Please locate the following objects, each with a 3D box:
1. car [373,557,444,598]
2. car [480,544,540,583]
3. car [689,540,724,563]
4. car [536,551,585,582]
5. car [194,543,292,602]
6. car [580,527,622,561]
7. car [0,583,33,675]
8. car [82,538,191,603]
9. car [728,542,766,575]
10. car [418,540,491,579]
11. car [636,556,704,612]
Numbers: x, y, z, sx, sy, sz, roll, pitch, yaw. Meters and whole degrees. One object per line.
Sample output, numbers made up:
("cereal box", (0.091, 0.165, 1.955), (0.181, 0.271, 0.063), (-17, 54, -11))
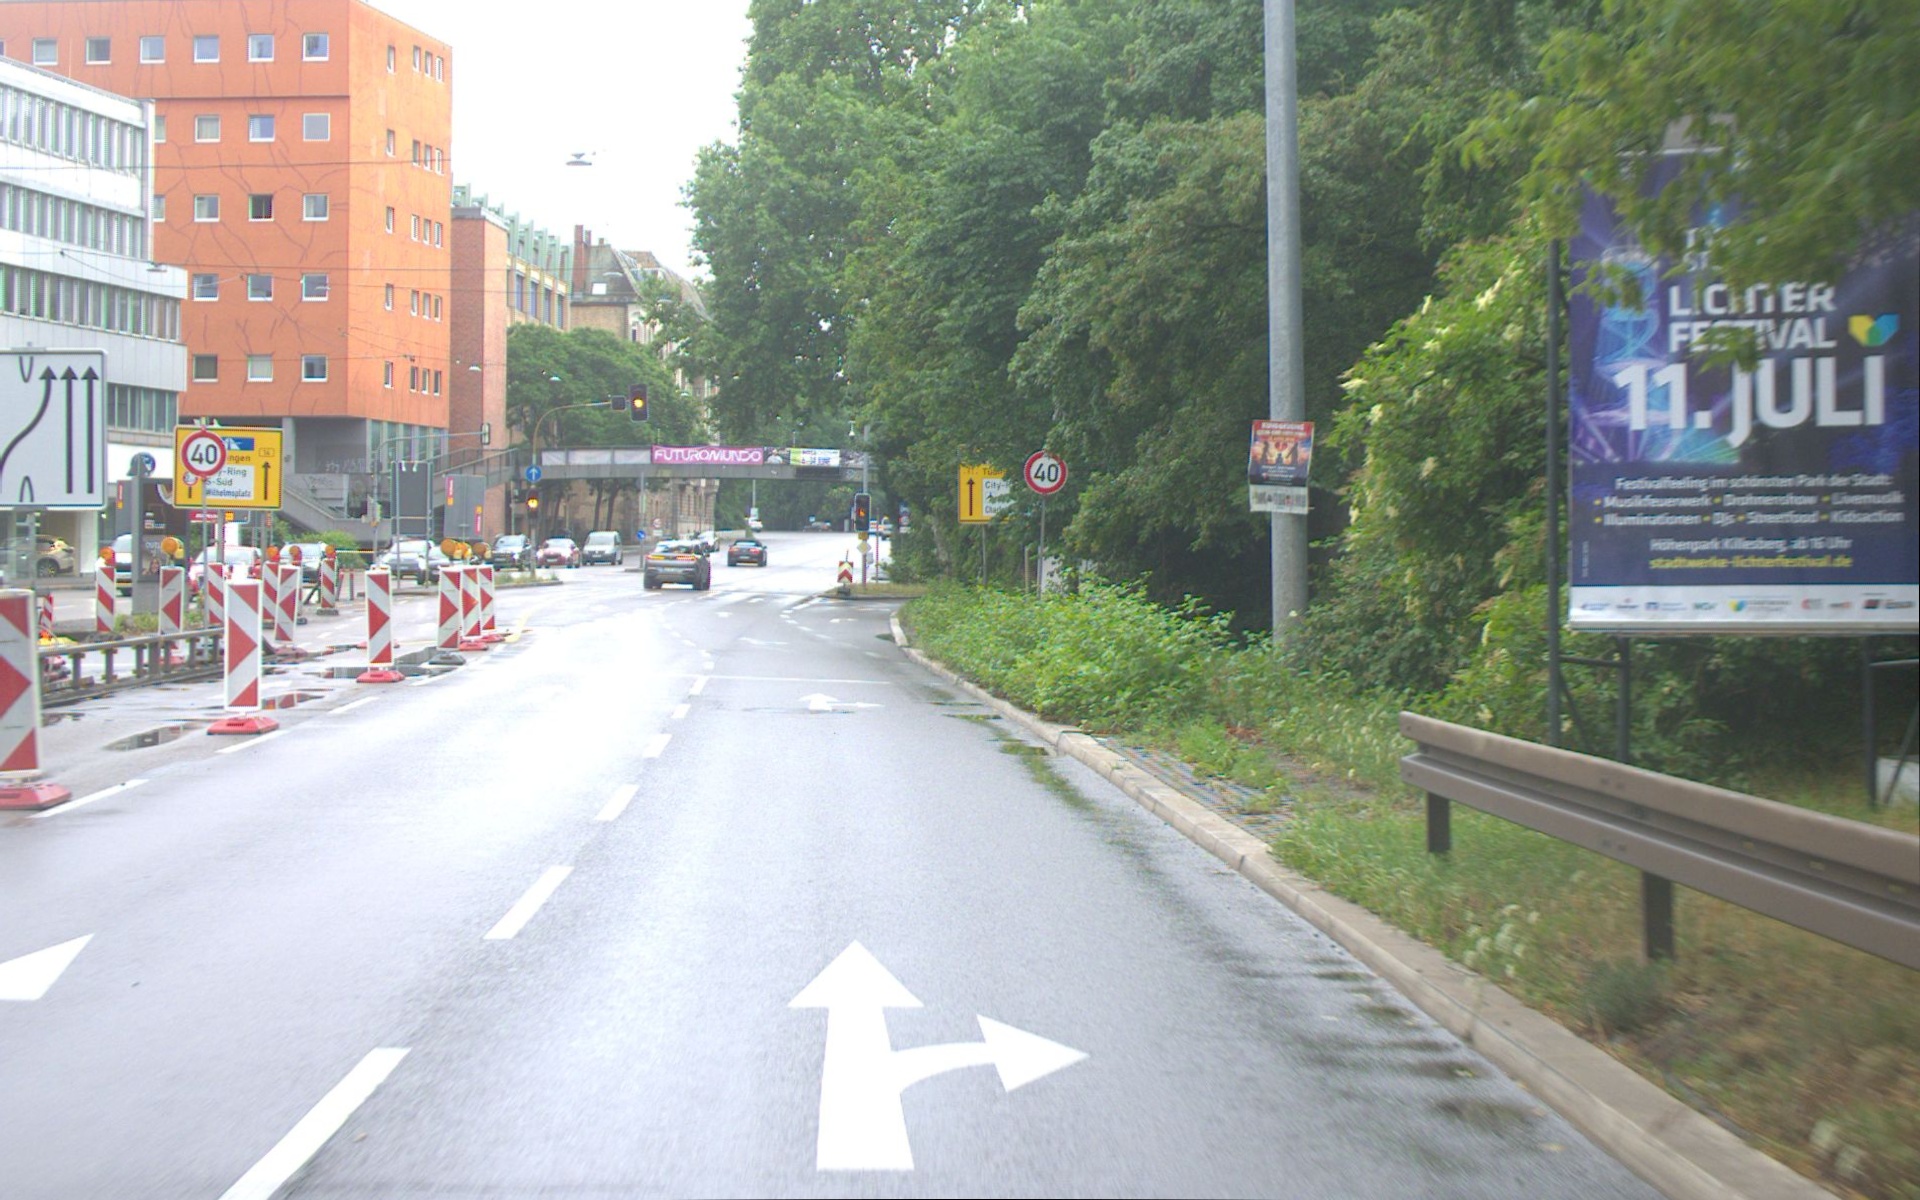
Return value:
("car", (-21.338, -0.871, 133.082), (1.808, 1.553, 4.300), (0, 1, 4))
("car", (-20.421, -1.649, 156.074), (1.845, 1.731, 4.604), (0, 1, 4))
("car", (-17.089, -3.269, 231.889), (1.993, 1.514, 4.000), (1, 1, 0))
("car", (-19.670, -1.642, 169.557), (1.829, 1.497, 4.373), (-1, 1, 1))
("car", (-17.796, -0.684, 85.446), (1.735, 1.399, 4.290), (1, 0, -3))
("car", (-19.195, -2.996, 184.043), (1.734, 1.780, 4.301), (-1, 1, 1))
("car", (-17.069, 0.492, 57.803), (1.959, 1.516, 4.300), (0, 1, -2))
("car", (-21.954, -0.792, 91.833), (1.979, 1.701, 4.832), (0, 1, -3))
("car", (-11.208, -2.178, 180.956), (1.763, 1.691, 3.706), (-1, 1, 0))
("car", (-17.827, -1.435, 121.462), (1.689, 1.350, 4.114), (-1, 1, 4))
("car", (-10.137, -0.575, 120.371), (2.120, 1.729, 4.199), (2, 2, -3))
